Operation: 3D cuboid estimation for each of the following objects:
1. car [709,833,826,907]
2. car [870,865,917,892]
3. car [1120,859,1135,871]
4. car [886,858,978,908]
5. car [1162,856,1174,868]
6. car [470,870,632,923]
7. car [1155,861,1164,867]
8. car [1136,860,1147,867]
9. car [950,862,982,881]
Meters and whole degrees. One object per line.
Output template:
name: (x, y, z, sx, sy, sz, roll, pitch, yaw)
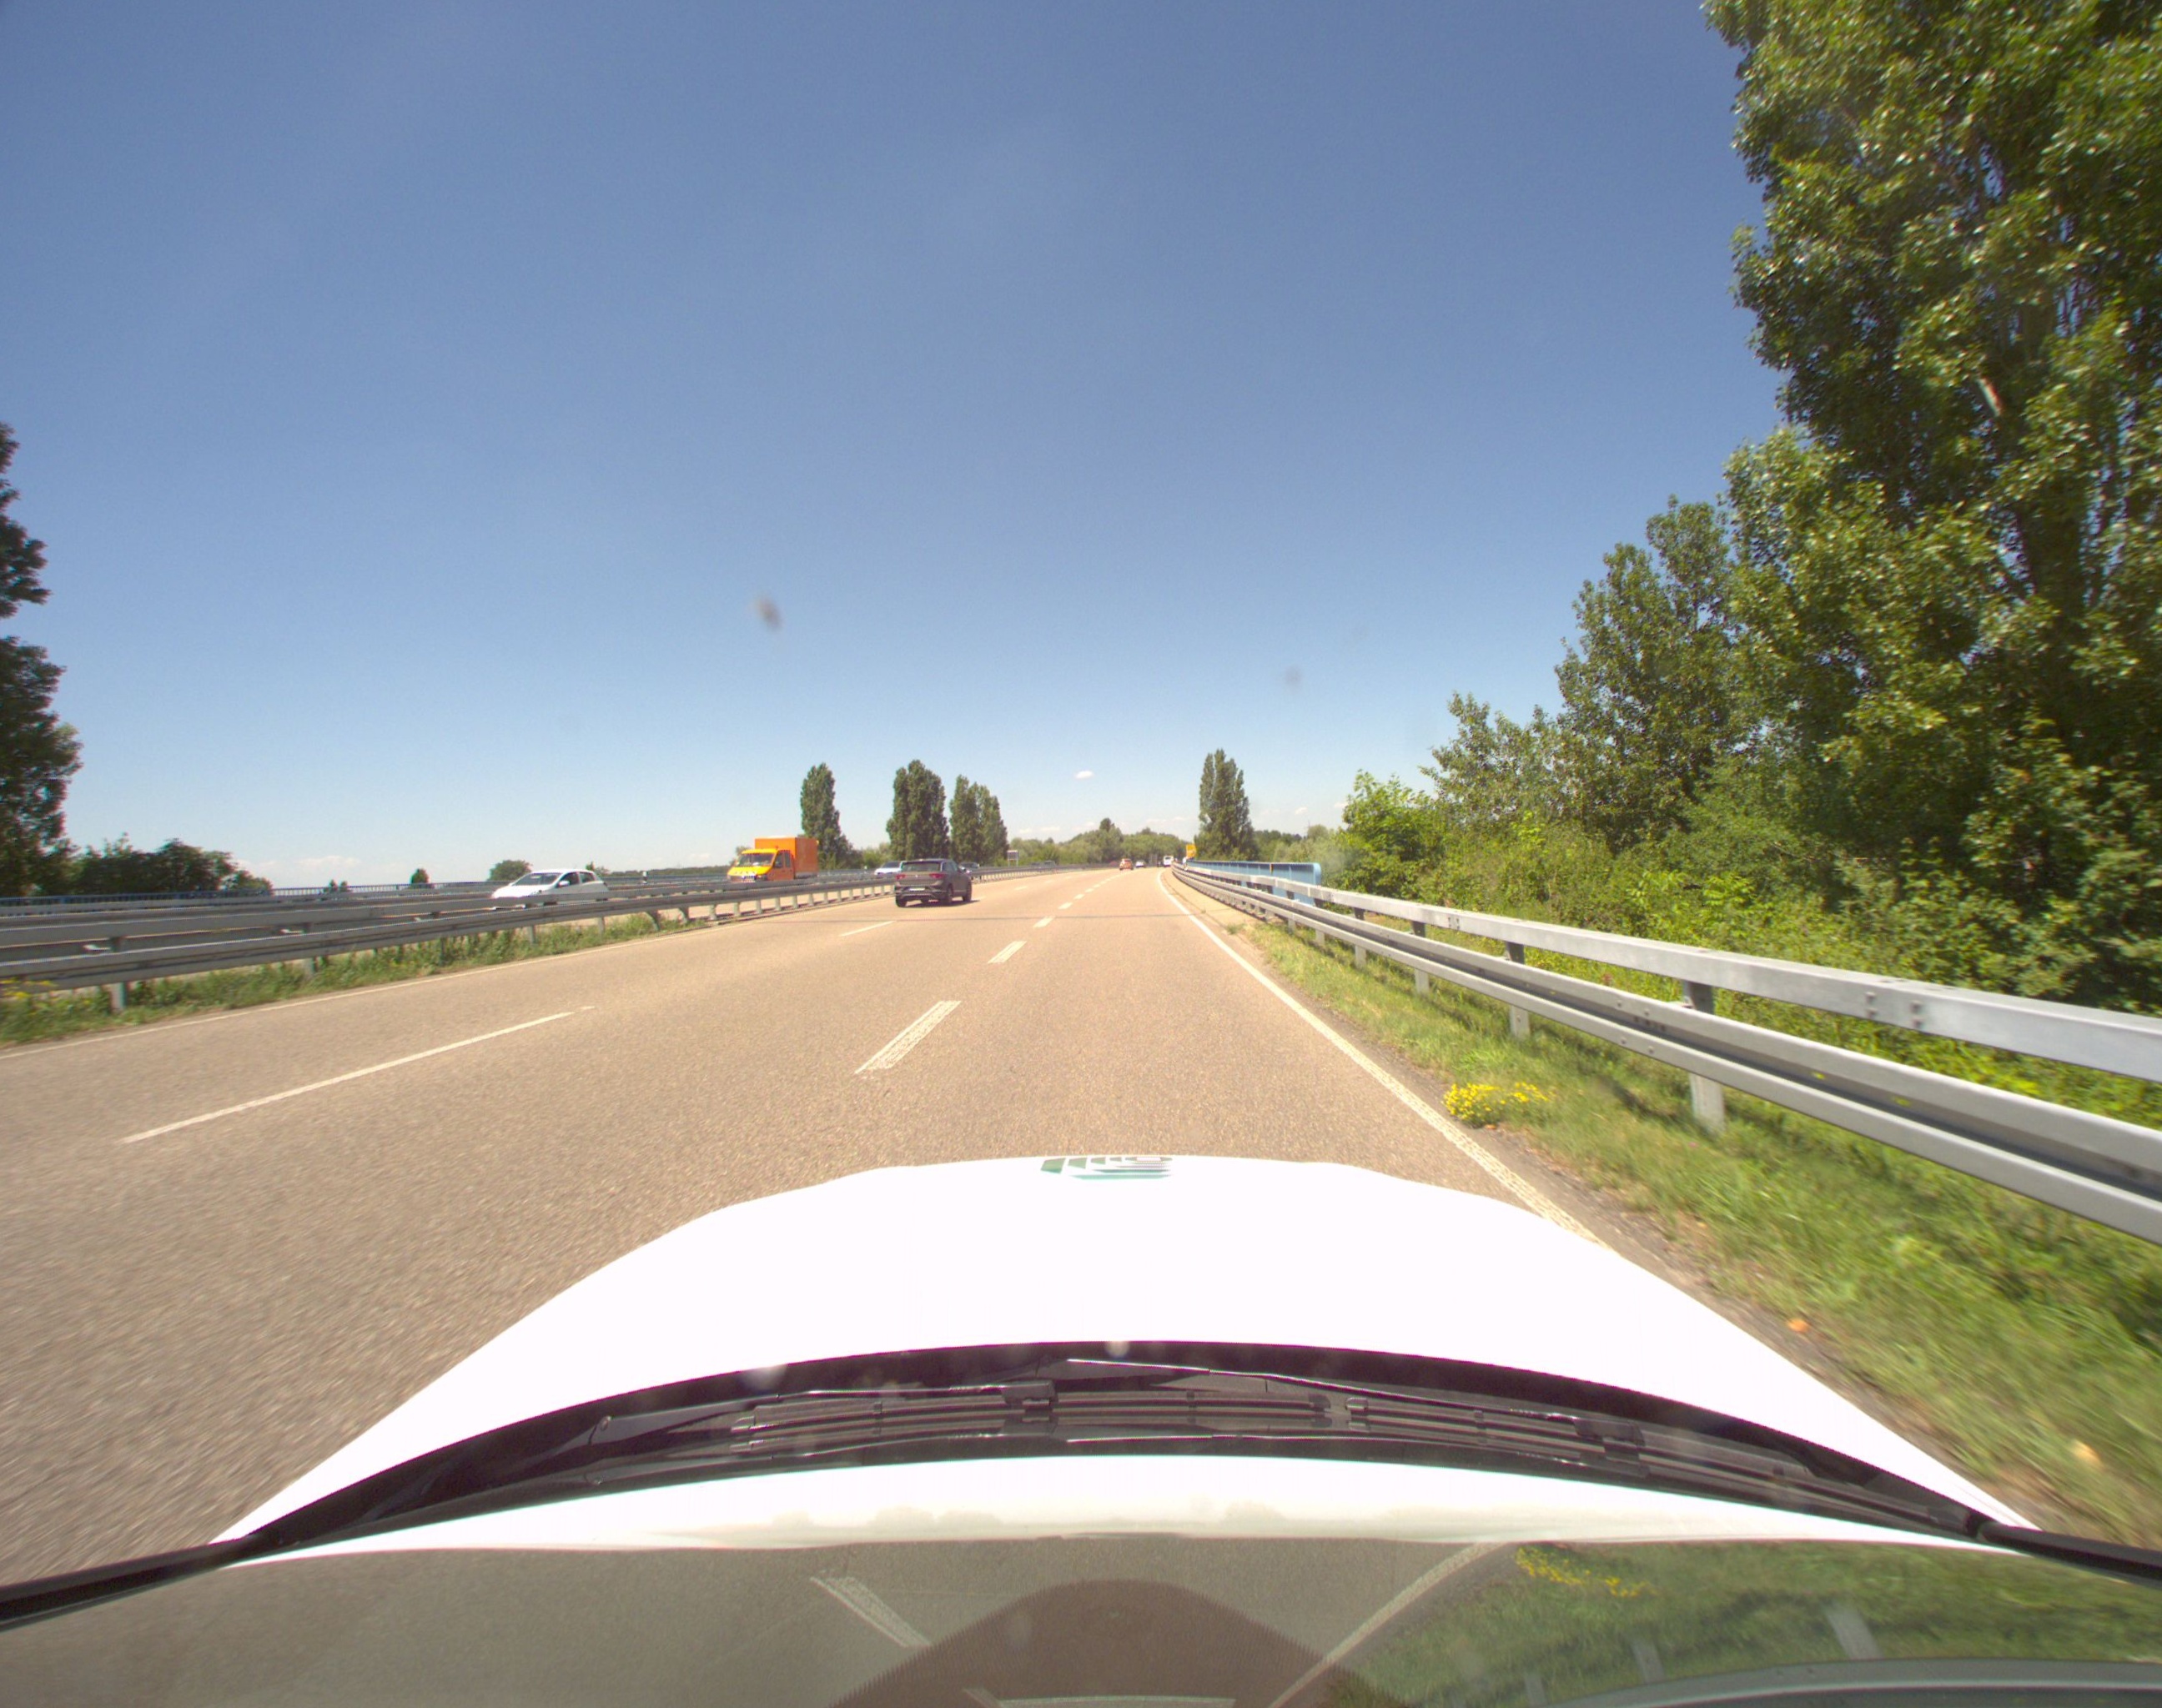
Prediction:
car: (-15.274, 0.741, 40.326, 2.294, 3.292, 7.040, -2, -1, 6)
car: (-13.785, 1.804, 60.162, 1.843, 1.818, 4.802, -2, -1, 6)
car: (6.171, 1.434, 108.296, 1.834, 1.464, 4.002, -1, 0, 2)
car: (-4.957, 0.923, 27.804, 1.832, 1.530, 4.478, -1, 0, 6)
car: (15.229, 1.386, 141.945, 1.831, 1.895, 4.009, -1, 0, 8)
car: (-16.913, 1.299, 26.347, 1.845, 1.432, 4.798, -2, -1, 3)
car: (19.737, 2.560, 204.702, 1.934, 1.464, 4.007, -1, 0, 6)
car: (12.099, 1.867, 163.433, 1.830, 1.451, 4.011, -1, 0, 9)
car: (-9.346, 1.455, 66.599, 1.717, 1.429, 3.952, -2, -1, 4)
